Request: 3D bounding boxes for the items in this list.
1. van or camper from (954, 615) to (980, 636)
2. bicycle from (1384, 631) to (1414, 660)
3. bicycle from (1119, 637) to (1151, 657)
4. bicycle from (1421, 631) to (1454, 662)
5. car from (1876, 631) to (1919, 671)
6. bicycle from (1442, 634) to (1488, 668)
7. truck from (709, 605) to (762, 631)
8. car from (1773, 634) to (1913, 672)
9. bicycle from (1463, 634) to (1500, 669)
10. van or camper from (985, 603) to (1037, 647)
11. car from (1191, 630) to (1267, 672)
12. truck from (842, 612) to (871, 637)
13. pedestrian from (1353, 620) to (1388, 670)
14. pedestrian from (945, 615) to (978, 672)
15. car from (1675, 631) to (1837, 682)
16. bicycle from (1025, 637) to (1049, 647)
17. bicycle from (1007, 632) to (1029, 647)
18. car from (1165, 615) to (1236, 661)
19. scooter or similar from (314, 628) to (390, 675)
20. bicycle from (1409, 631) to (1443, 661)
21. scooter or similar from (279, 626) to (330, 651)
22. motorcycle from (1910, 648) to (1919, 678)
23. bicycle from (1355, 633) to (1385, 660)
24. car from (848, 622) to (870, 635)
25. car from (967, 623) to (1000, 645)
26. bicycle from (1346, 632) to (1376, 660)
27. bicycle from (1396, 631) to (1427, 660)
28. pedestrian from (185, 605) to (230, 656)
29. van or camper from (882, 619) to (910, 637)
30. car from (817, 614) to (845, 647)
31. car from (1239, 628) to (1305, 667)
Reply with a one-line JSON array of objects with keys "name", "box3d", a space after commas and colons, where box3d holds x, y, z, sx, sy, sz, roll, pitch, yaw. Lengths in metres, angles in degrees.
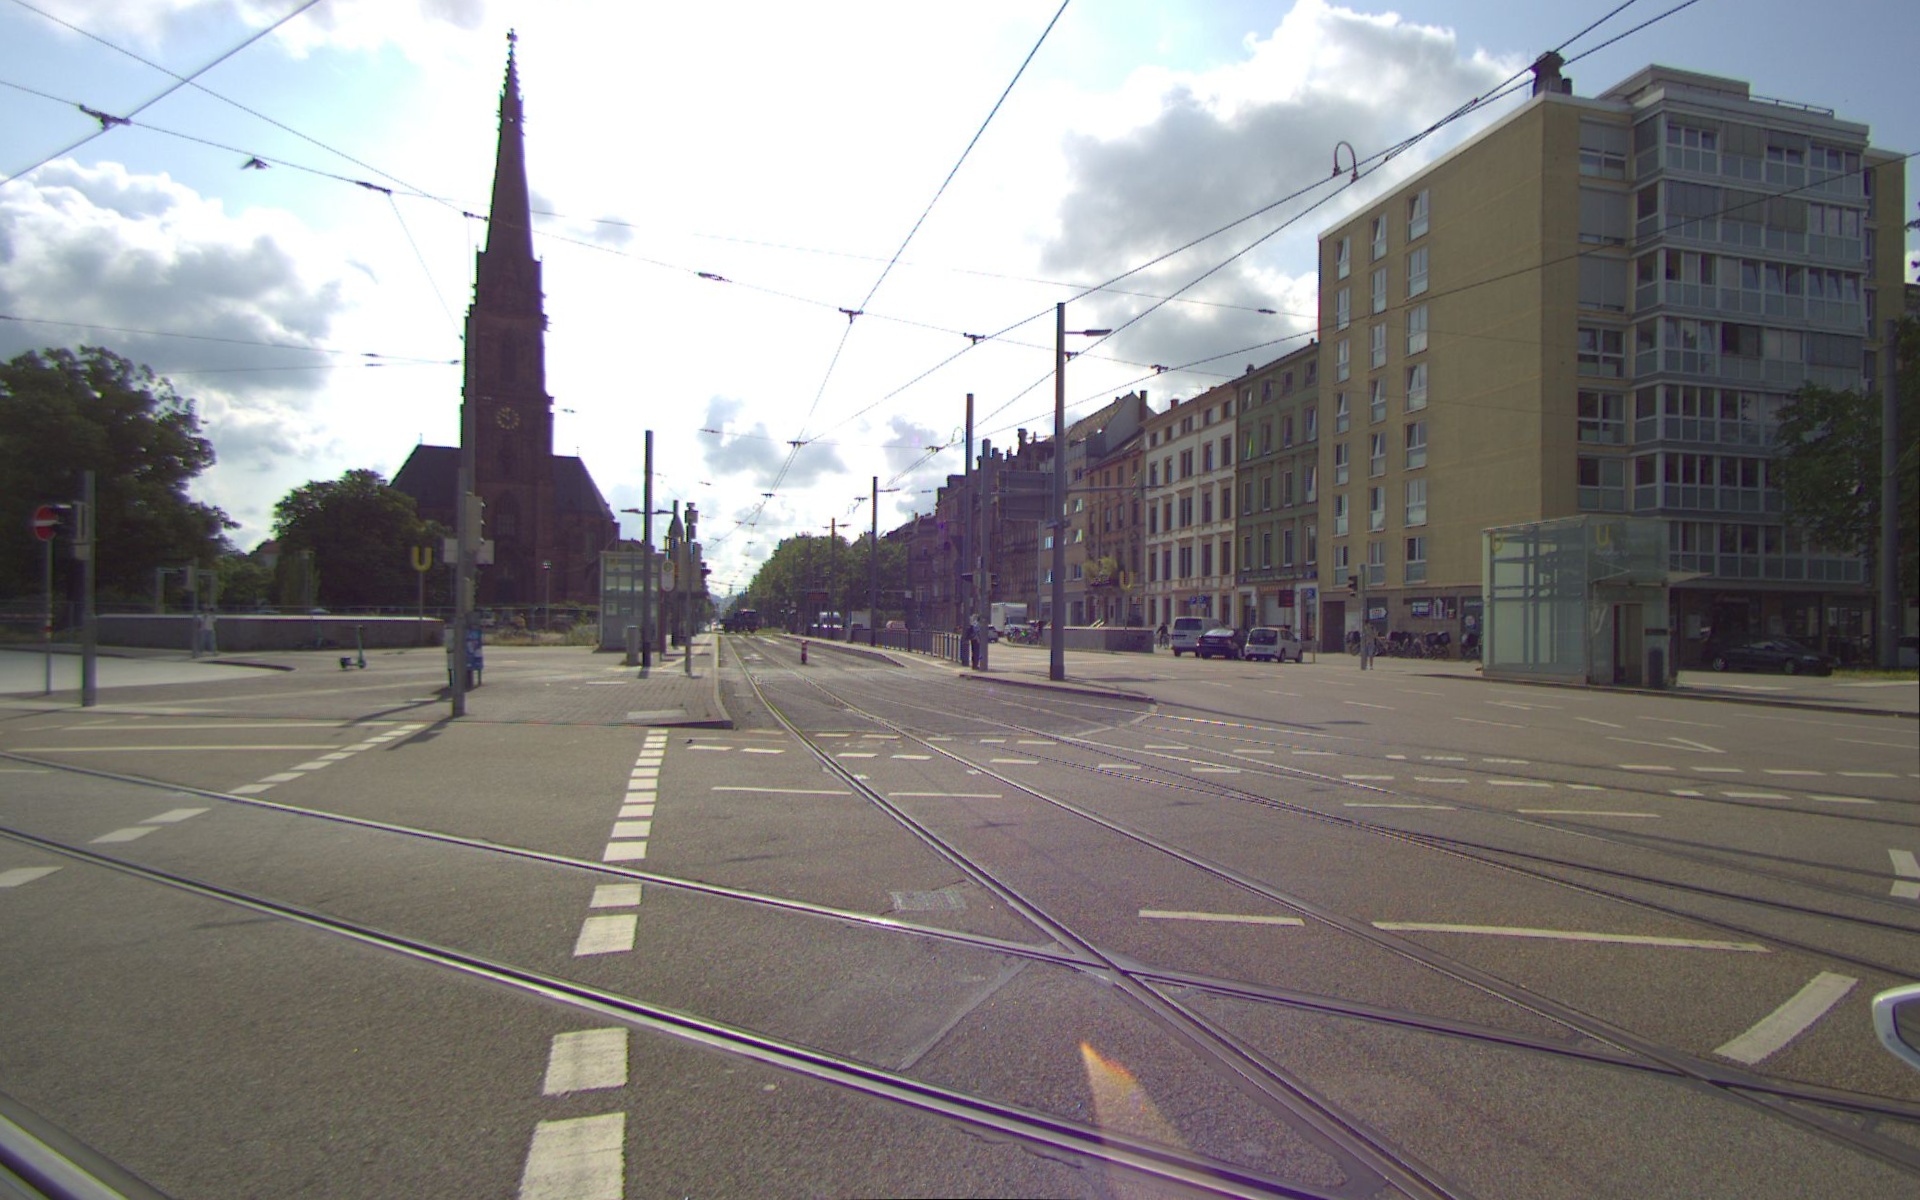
[{"name": "van or camper", "box3d": [0.797, 3.046, 121.901, 1.966, 2.506, 5.551, 1, -1, -13]}, {"name": "bicycle", "box3d": [20.701, 2.126, 47.365, 0.479, 1.218, 1.642, 0, 3, -9]}, {"name": "bicycle", "box3d": [9.933, 2.669, 57.028, 1.752, 1.017, 0.510, 2, 2, -21]}, {"name": "bicycle", "box3d": [21.627, 2.098, 45.538, 0.479, 1.218, 1.642, 0, 3, -9]}, {"name": "car", "box3d": [39.259, 2.073, 40.073, 1.966, 1.550, 3.564, 2, -2, -14]}, {"name": "bicycle", "box3d": [21.469, 2.151, 42.699, 0.480, 1.289, 1.880, -1, 3, -21]}, {"name": "truck", "box3d": [-32.684, 2.620, 146.325, 7.302, 3.697, 2.472, 0, -1, 19]}, {"name": "car", "box3d": [34.829, 2.080, 39.746, 1.559, 1.344, 3.989, 2, -2, -14]}, {"name": "bicycle", "box3d": [22.070, 2.163, 42.526, 0.479, 1.289, 1.642, 0, 3, -9]}, {"name": "van or camper", "box3d": [4.362, 2.076, 87.275, 2.673, 3.376, 7.620, 0, 2, -12]}, {"name": "car", "box3d": [12.572, 2.330, 46.730, 1.859, 1.488, 5.048, 2, 3, 34]}, {"name": "truck", "box3d": [-14.351, 3.398, 138.465, 3.125, 3.329, 7.280, 1, -2, -13]}, {"name": "pedestrian", "box3d": [14.781, 1.616, 36.159, 0.986, 1.783, 0.777, 1, -1, -38]}, {"name": "pedestrian", "box3d": [0.041, 1.351, 31.606, 0.831, 1.696, 0.792, -1, 3, -15]}, {"name": "car", "box3d": [29.398, 2.049, 37.285, 1.967, 1.606, 4.378, 2, 0, -15]}, {"name": "bicycle", "box3d": [5.761, 3.160, 75.385, 1.742, 0.594, 0.636, 2, 3, 37]}, {"name": "bicycle", "box3d": [4.625, 3.151, 79.852, 1.740, 1.100, 0.370, 0, 4, -26]}, {"name": "car", "box3d": [12.254, 1.870, 50.973, 2.043, 2.113, 4.888, 2, 1, 31]}, {"name": "scooter or similar", "box3d": [-16.579, 1.391, 27.448, 1.315, 1.205, 1.491, 2, -2, -12]}, {"name": "bicycle", "box3d": [21.076, 2.080, 45.480, 0.539, 1.218, 1.642, 0, 3, -9]}, {"name": "scooter or similar", "box3d": [-26.043, 1.531, 39.934, 0.465, 0.962, 1.660, 0, -1, 31]}, {"name": "motorcycle", "box3d": [30.602, 1.967, 30.921, 1.863, 0.915, 0.603, 0, 0, 34]}, {"name": "bicycle", "box3d": [20.464, 2.303, 50.167, 0.479, 1.218, 1.640, 0, 3, -14]}, {"name": "car", "box3d": [-12.174, 3.365, 120.695, 1.967, 1.528, 3.988, 1, -1, -15]}, {"name": "car", "box3d": [1.939, 2.802, 84.108, 1.765, 1.457, 4.333, -4, 3, -12]}, {"name": "bicycle", "box3d": [19.952, 2.284, 50.017, 0.479, 1.218, 1.640, 0, 3, -14]}, {"name": "bicycle", "box3d": [21.256, 2.140, 47.289, 0.479, 1.218, 1.642, 0, 3, -9]}, {"name": "pedestrian", "box3d": [-27.190, 1.095, 36.303, 1.077, 1.712, 0.928, 3, 3, 28]}, {"name": "van or camper", "box3d": [-7.084, 3.071, 110.311, 1.983, 1.939, 4.506, 2, -2, -17]}, {"name": "car", "box3d": [-12.254, 2.861, 95.369, 1.966, 2.657, 5.563, -1, 3, -14]}, {"name": "car", "box3d": [13.678, 2.042, 43.958, 1.691, 1.460, 3.500, 3, 2, 35]}]
